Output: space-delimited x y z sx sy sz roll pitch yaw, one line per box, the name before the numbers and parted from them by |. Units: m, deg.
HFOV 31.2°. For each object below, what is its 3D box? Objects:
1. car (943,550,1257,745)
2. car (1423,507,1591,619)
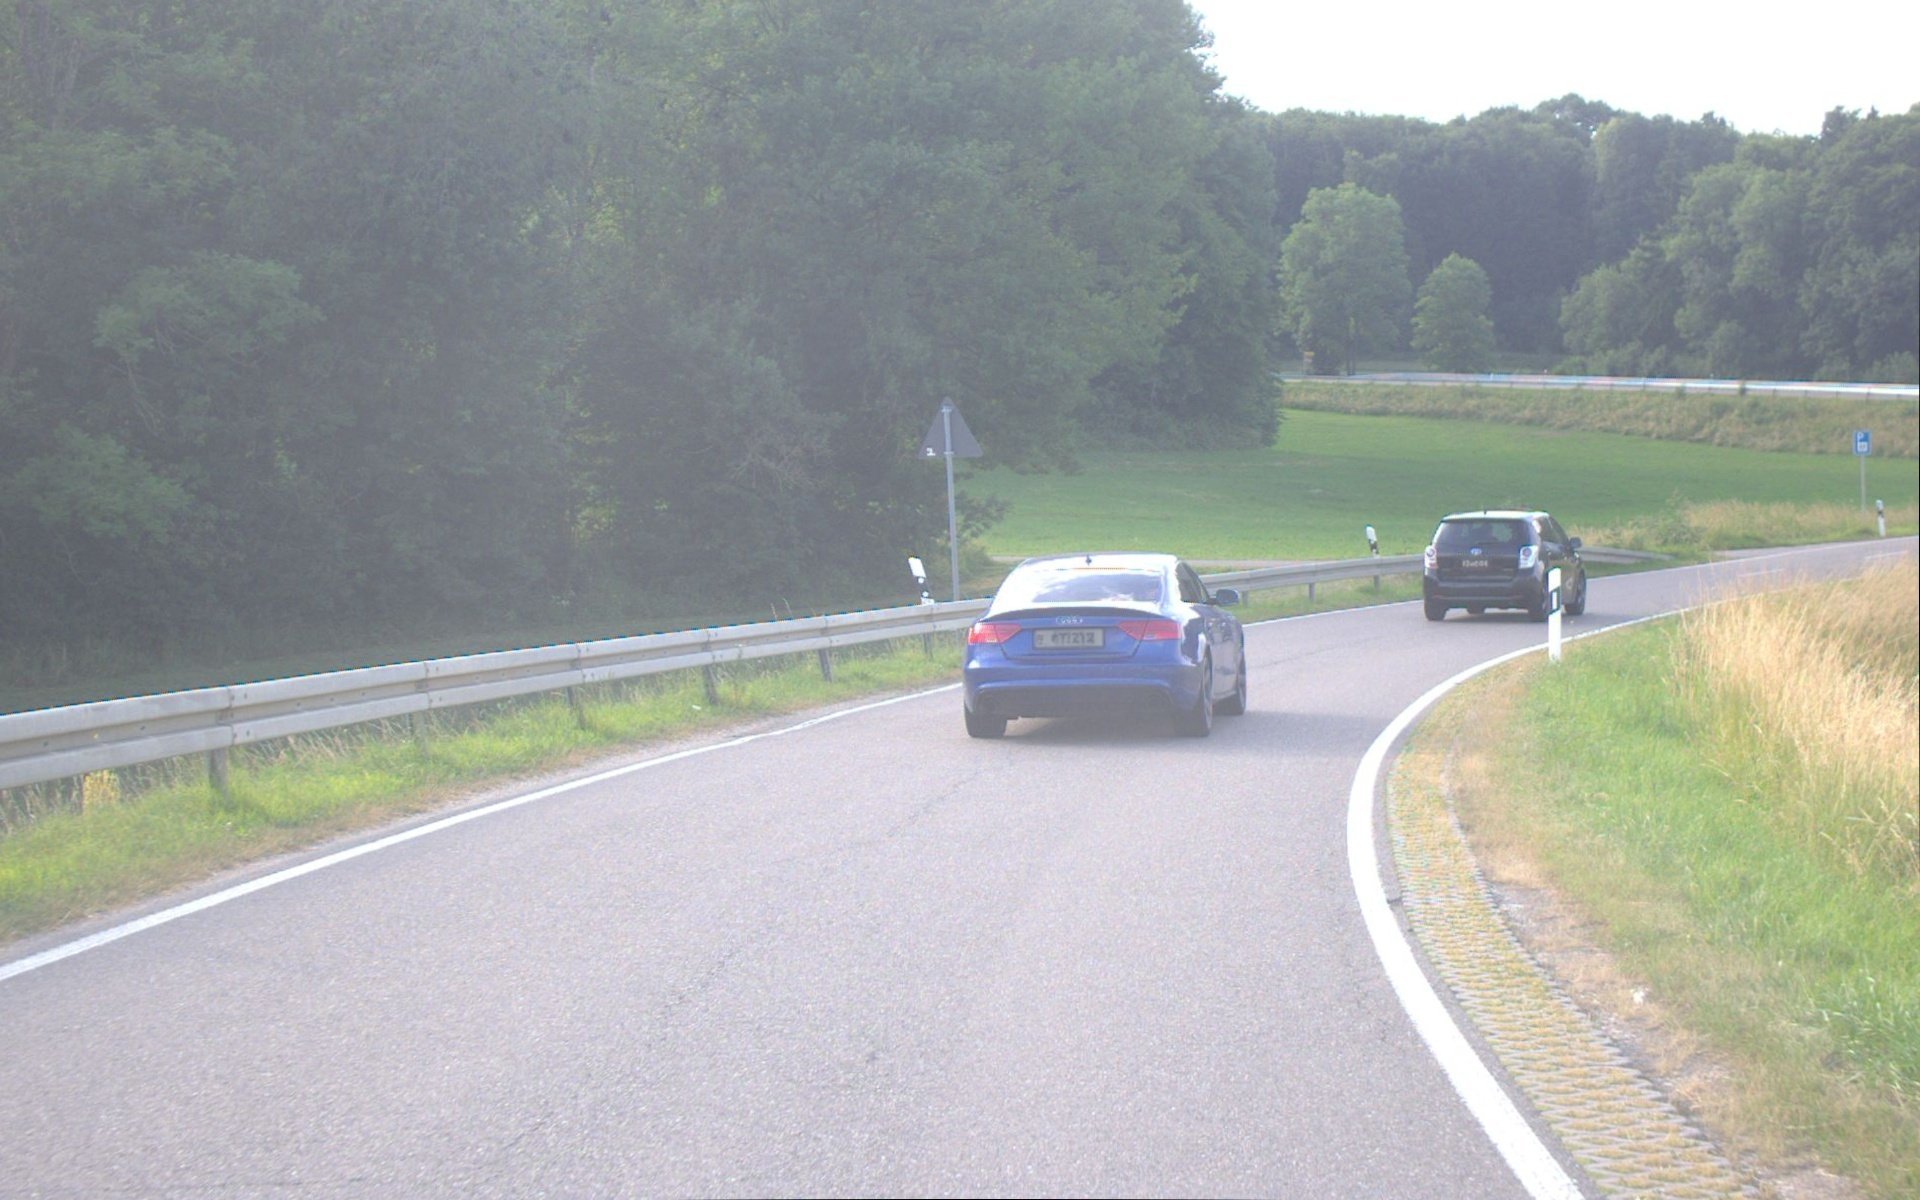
car | 1.181 0.310 26.799 1.819 1.334 4.348 0 2 11
car | 8.214 -0.583 51.341 1.863 1.563 3.997 1 2 18
